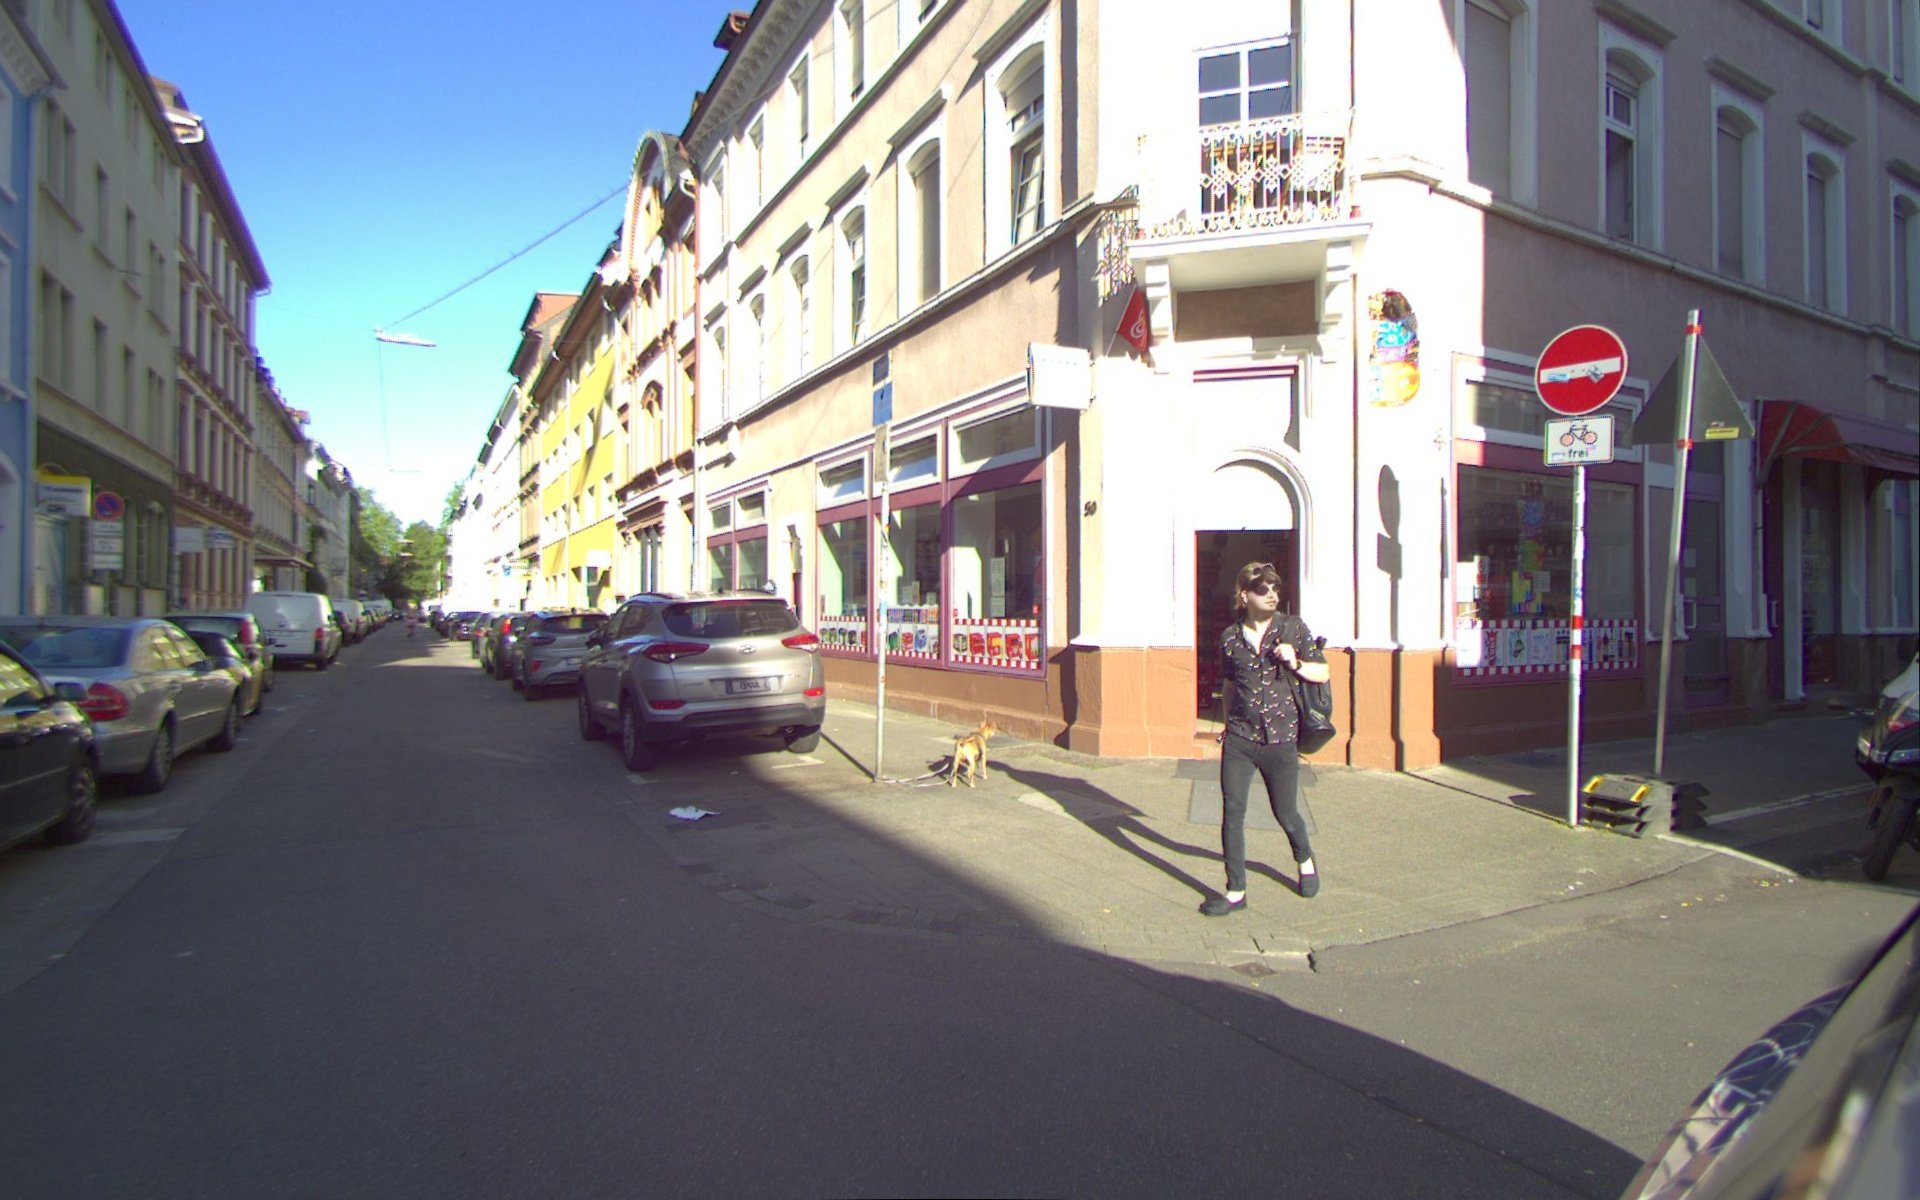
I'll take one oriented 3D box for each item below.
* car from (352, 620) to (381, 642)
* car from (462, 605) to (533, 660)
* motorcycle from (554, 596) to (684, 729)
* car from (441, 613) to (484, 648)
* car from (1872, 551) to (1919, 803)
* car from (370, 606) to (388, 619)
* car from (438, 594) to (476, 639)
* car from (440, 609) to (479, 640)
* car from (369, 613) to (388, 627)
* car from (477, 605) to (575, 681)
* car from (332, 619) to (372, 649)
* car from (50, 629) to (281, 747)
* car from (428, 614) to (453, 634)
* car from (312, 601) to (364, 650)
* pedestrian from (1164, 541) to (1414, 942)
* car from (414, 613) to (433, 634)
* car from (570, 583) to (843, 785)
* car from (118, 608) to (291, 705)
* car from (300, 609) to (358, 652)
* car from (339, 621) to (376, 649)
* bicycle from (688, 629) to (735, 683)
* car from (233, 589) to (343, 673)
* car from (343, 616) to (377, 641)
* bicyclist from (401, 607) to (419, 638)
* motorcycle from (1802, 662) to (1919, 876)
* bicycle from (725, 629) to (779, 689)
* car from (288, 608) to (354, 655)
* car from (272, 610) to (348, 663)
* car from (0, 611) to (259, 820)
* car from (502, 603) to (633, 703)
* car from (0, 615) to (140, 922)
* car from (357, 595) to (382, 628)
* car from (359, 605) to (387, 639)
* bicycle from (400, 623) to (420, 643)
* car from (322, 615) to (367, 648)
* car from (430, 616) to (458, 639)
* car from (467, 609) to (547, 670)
[{"bbox_3d":[-45.569,2.337,77.795,1.717,1.531,3.920,-3,1,-28],"label":"car"},{"bbox_3d":[-14.663,0.981,31.973,1.717,1.531,3.920,-3,1,-28],"label":"car"},{"bbox_3d":[-4.631,0.811,13.962,0.836,1.670,2.332,-1,-1,5],"label":"motorcycle"},{"bbox_3d":[-24.395,1.464,49.581,1.717,1.531,3.920,-3,1,-28],"label":"car"},{"bbox_3d":[9.157,0.574,7.902,4.282,1.839,1.756,0,1,-30],"label":"car"},{"bbox_3d":[-70.009,1.513,121.926,1.717,1.531,3.920,-3,1,-28],"label":"car"},{"bbox_3d":[-29.822,0.957,59.970,1.809,2.462,3.920,-3,1,-28],"label":"car"},{"bbox_3d":[-26.874,1.295,54.286,1.717,1.531,3.920,-3,1,-28],"label":"car"},{"bbox_3d":[-67.578,2.304,117.603,1.717,1.531,3.920,-3,1,-28],"label":"car"},{"bbox_3d":[-10.232,0.950,23.705,1.717,1.531,3.920,-3,1,-28],"label":"car"},{"bbox_3d":[-34.602,1.902,57.678,1.717,1.531,3.920,-3,1,-28],"label":"car"},{"bbox_3d":[-10.382,1.042,13.549,1.721,1.244,4.169,0,-1,-28],"label":"car"},{"bbox_3d":[-43.687,1.962,85.027,1.717,1.531,3.920,-3,1,-28],"label":"car"},{"bbox_3d":[-28.618,1.159,46.644,1.717,2.079,3.920,-3,1,-28],"label":"car"},{"bbox_3d":[1.695,0.620,5.206,0.974,1.815,0.826,0,2,-44],"label":"pedestrian"},{"bbox_3d":[-57.833,2.559,109.084,1.717,2.116,3.920,-3,1,-28],"label":"car"},{"bbox_3d":[-2.869,0.725,10.730,1.819,1.653,4.077,-2,0,-28],"label":"car"},{"bbox_3d":[-13.191,0.935,17.914,1.720,1.495,3.986,2,-2,-27],"label":"car"},{"bbox_3d":[-26.006,1.231,41.791,1.717,1.572,3.920,-3,1,-28],"label":"car"},{"bbox_3d":[-37.070,2.111,62.287,1.717,1.531,3.920,-3,1,-28],"label":"car"},{"bbox_3d":[-4.884,1.075,19.833,0.446,1.022,1.646,0,-2,-31],"label":"bicycle"},{"bbox_3d":[-17.331,0.772,26.307,1.798,1.971,4.559,1,-1,-27],"label":"car"},{"bbox_3d":[-40.338,1.910,68.069,1.717,1.531,3.920,-3,1,-28],"label":"car"},{"bbox_3d":[-26.788,1.082,49.309,0.749,1.490,1.005,0,-2,-29],"label":"bicyclist"},{"bbox_3d":[6.199,0.966,6.129,1.954,1.099,0.723,0,3,-18],"label":"motorcycle"},{"bbox_3d":[-3.802,1.053,18.397,0.446,1.022,1.646,0,-1,-31],"label":"bicycle"},{"bbox_3d":[-23.253,1.120,36.940,1.717,1.531,3.920,-3,1,-28],"label":"car"},{"bbox_3d":[-20.897,1.130,32.663,1.717,1.531,3.920,-3,1,-28],"label":"car"},{"bbox_3d":[-7.791,0.853,9.148,1.720,1.453,4.490,2,-2,-27],"label":"car"},{"bbox_3d":[-7.274,0.891,18.536,1.717,1.531,3.920,-3,1,-28],"label":"car"},{"bbox_3d":[-5.702,0.814,5.165,1.643,1.472,3.884,1,-1,-28],"label":"car"},{"bbox_3d":[-55.776,1.061,95.626,1.717,2.952,4.197,-3,1,-28],"label":"car"},{"bbox_3d":[-48.169,1.787,83.110,1.717,2.608,3.920,-3,1,-28],"label":"car"},{"bbox_3d":[-26.769,1.589,49.252,0.798,0.914,2.171,0,-2,-29],"label":"bicycle"},{"bbox_3d":[-31.616,1.564,52.070,1.717,1.531,3.920,-3,1,-28],"label":"car"},{"bbox_3d":[-38.475,2.050,75.456,1.717,1.531,3.920,-3,1,-28],"label":"car"},{"bbox_3d":[-12.725,1.055,28.316,1.717,1.471,3.920,-3,1,-28],"label":"car"}]
